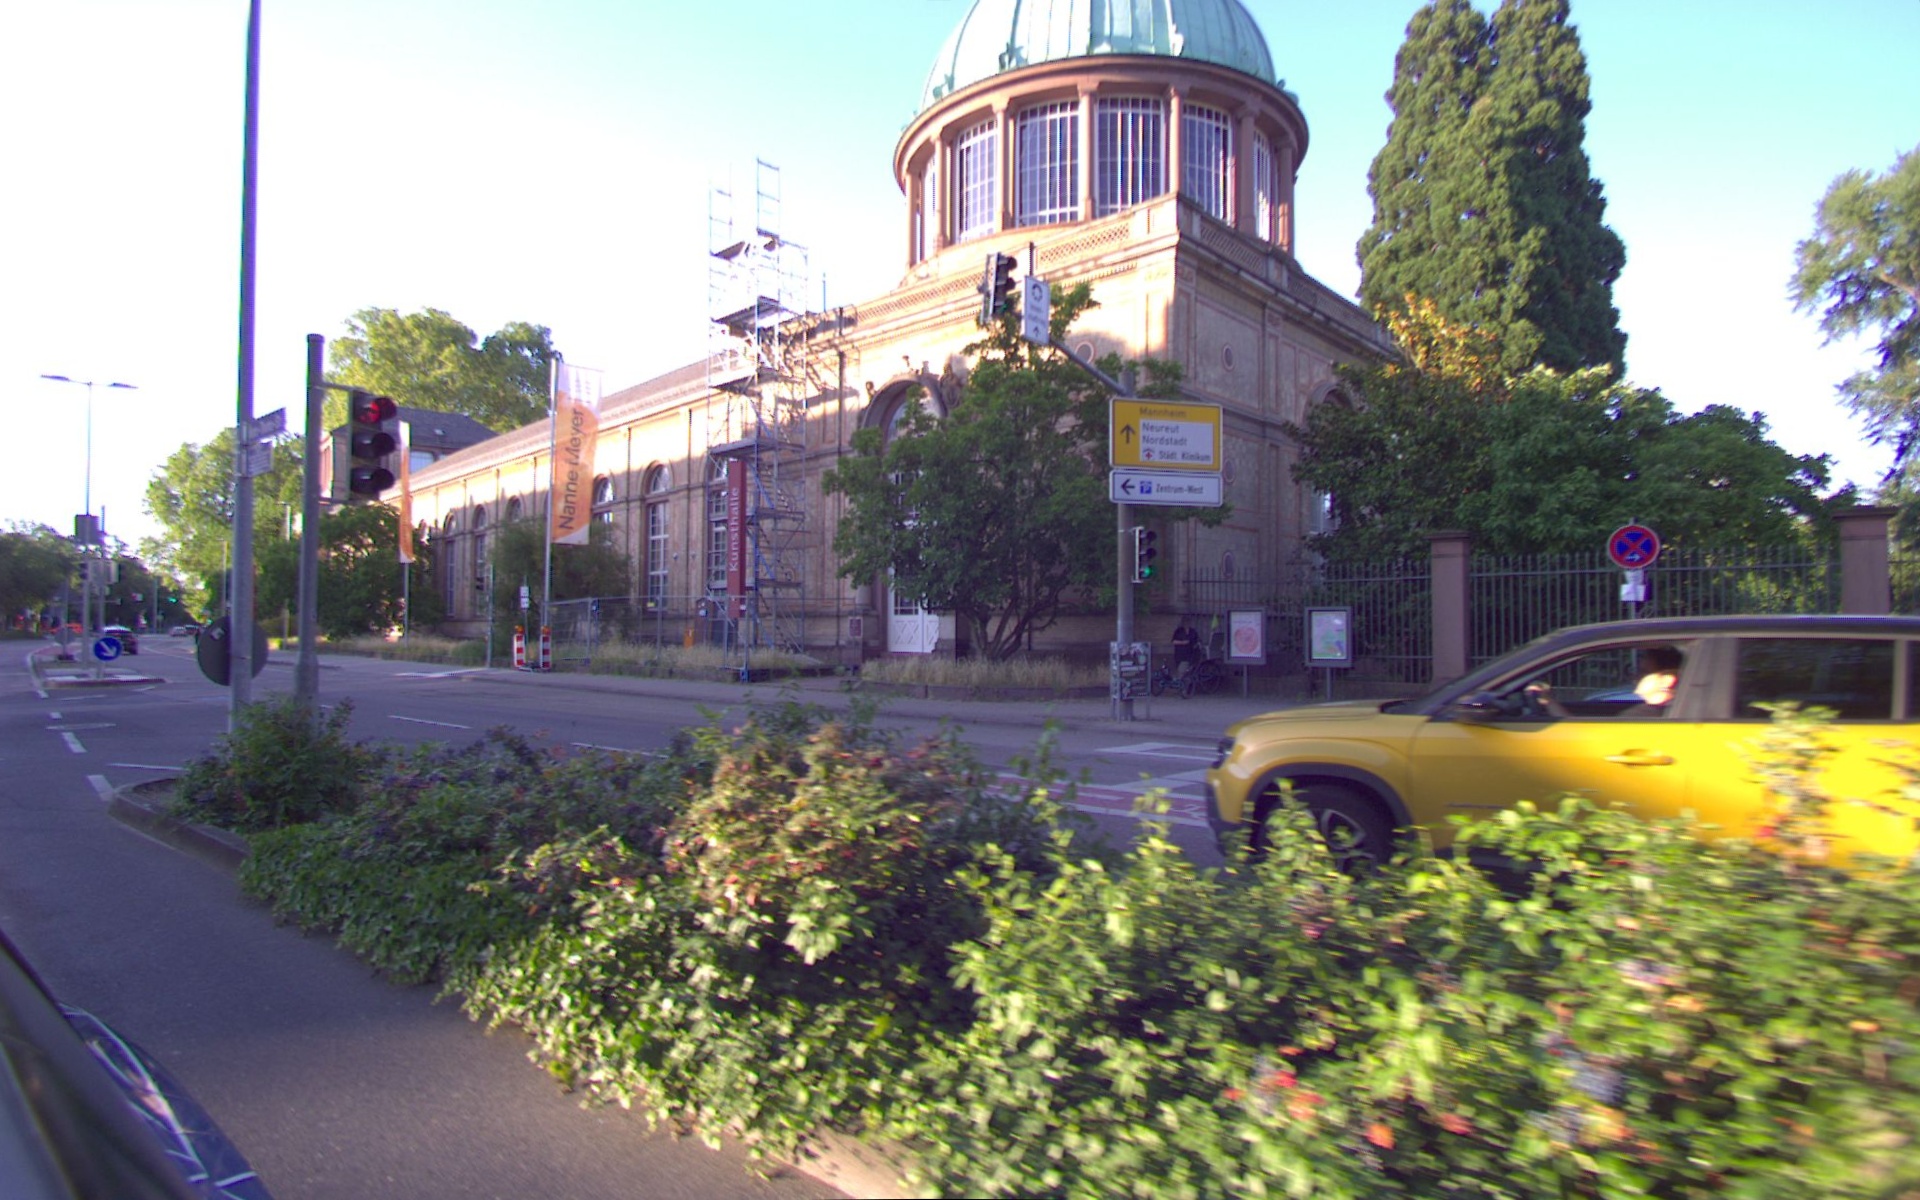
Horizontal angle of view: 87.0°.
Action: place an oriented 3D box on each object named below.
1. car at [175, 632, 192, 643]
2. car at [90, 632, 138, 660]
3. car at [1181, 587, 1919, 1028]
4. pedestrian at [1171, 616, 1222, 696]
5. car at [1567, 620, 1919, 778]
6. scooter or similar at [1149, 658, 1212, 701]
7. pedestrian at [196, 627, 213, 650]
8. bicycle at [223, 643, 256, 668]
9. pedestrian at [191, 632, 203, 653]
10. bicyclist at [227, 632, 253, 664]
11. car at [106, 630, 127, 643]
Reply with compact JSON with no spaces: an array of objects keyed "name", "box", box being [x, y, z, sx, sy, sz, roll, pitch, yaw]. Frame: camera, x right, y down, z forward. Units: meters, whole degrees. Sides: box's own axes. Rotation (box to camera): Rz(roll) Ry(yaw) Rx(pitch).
[{"name":"car","box":[-117.836,5.654,153.637,1.890,1.697,4.009,1,-2,-36]},{"name":"car","box":[-46.957,2.528,56.120,1.801,1.519,4.431,2,-3,-43]},{"name":"car","box":[3.337,0.780,4.794,4.110,1.559,1.828,-1,-3,36]},{"name":"pedestrian","box":[4.842,1.135,20.714,0.762,1.591,0.728,-2,-3,41]},{"name":"car","box":[9.488,1.028,11.385,4.364,1.559,1.727,-1,-1,39]},{"name":"scooter or similar","box":[4.356,1.559,19.998,1.028,0.783,0.671,-2,-3,40]},{"name":"pedestrian","box":[-57.425,2.909,76.963,0.795,1.751,0.852,0,-2,-18]},{"name":"bicycle","box":[-32.957,2.554,46.296,1.931,1.099,0.745,-2,-4,41]},{"name":"pedestrian","box":[-57.693,3.224,76.518,0.665,1.524,0.837,-3,-1,-35]},{"name":"bicyclist","box":[-32.943,2.203,46.303,0.937,1.471,0.739,-2,-4,41]},{"name":"car","box":[-100.609,4.321,120.747,1.749,1.475,4.008,3,-4,-38]}]
